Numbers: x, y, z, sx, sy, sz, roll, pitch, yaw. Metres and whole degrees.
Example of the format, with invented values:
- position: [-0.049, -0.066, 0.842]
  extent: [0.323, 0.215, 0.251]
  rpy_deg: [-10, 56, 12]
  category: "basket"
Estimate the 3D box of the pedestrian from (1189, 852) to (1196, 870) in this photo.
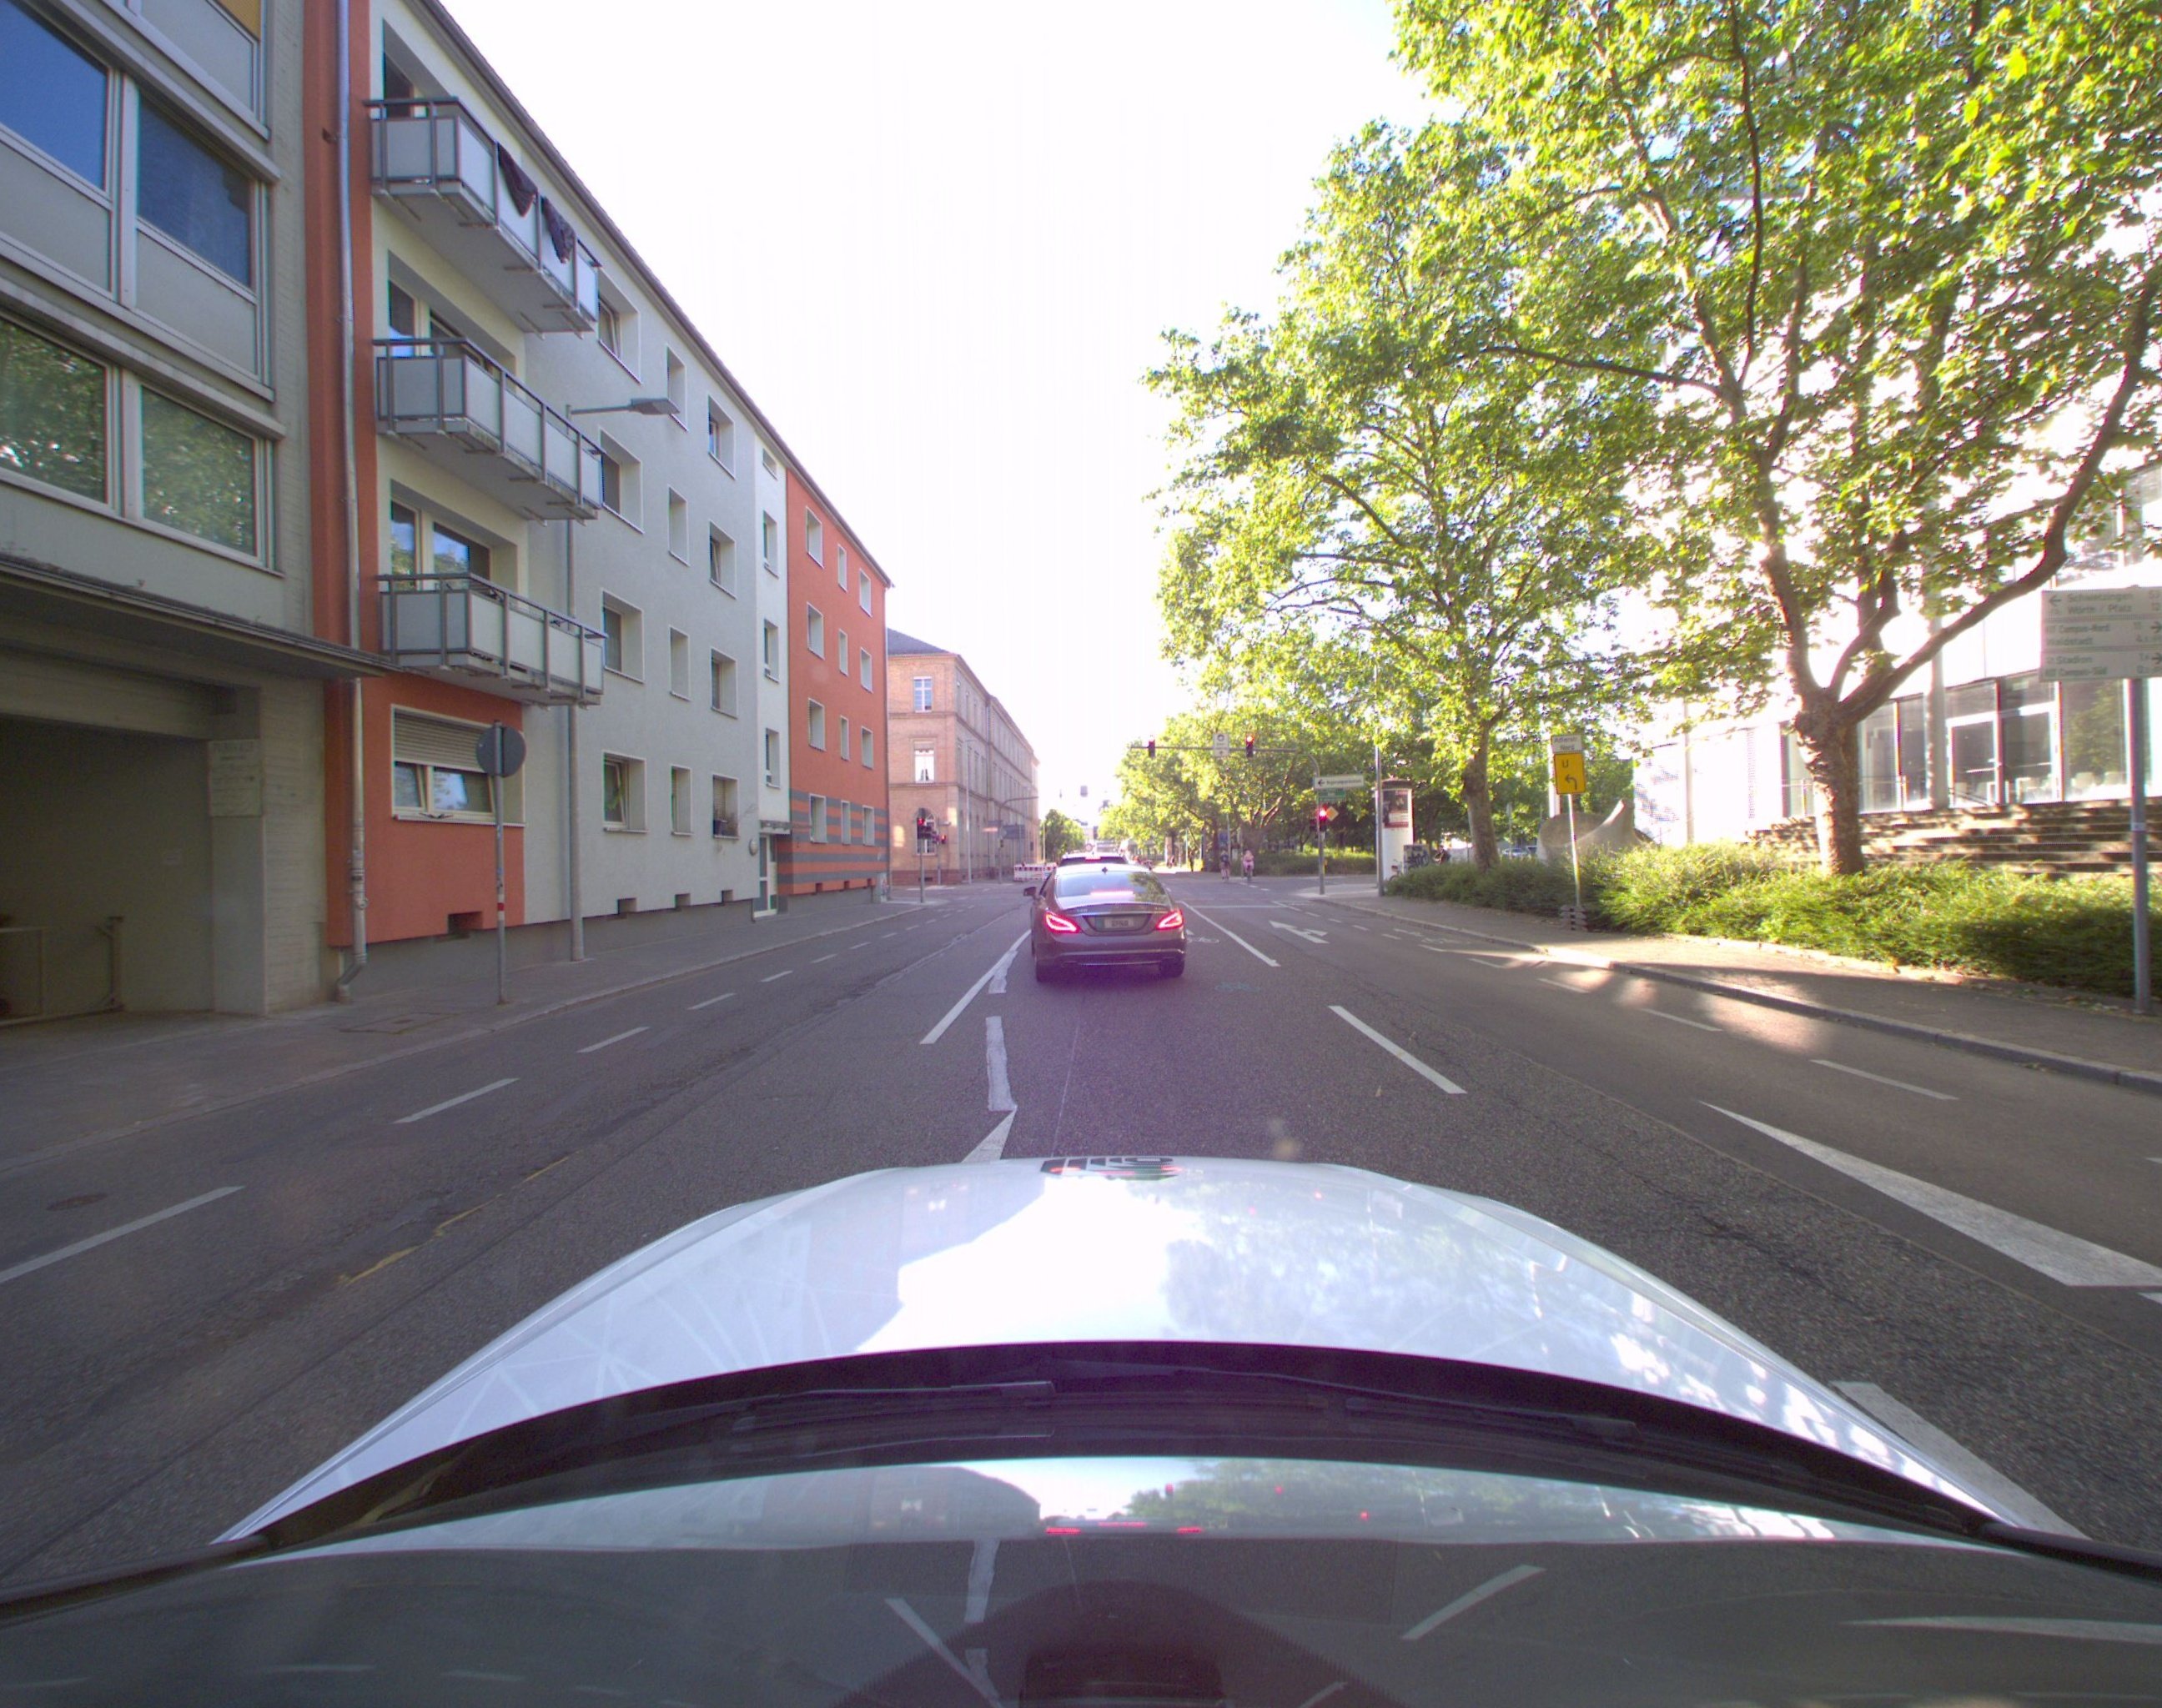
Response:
- position: [10.479, 0.630, 76.496]
  extent: [0.557, 1.678, 0.565]
  rpy_deg: [-1, 0, 1]
  category: "pedestrian"

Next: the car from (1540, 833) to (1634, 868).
- position: [27.928, -0.193, 45.069]
  extent: [3.975, 1.784, 2.004]
  rpy_deg: [-1, 0, 6]
  category: "car"

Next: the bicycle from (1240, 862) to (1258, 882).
- position: [8.531, 0.888, 41.471]
  extent: [0.598, 0.985, 1.882]
  rpy_deg: [0, 0, 2]
  category: "bicycle"

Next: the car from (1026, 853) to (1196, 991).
- position: [0.195, 0.766, 11.234]
  extent: [1.818, 1.476, 4.345]
  rpy_deg: [-1, 0, -5]
  category: "car"

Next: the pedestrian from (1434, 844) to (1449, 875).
- position: [20.974, 0.315, 47.418]
  extent: [0.617, 1.784, 0.631]
  rpy_deg: [-1, 0, 4]
  category: "pedestrian"

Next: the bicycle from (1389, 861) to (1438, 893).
- position: [10.958, 0.751, 26.866]
  extent: [1.411, 1.037, 0.538]
  rpy_deg: [-1, 0, -2]
  category: "bicycle"

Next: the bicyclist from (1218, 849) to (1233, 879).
- position: [7.282, 0.500, 41.150]
  extent: [0.608, 1.516, 0.890]
  rpy_deg: [0, 0, 2]
  category: "bicyclist"

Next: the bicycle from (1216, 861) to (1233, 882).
- position: [7.283, 0.899, 41.285]
  extent: [0.608, 1.026, 1.732]
  rpy_deg: [0, 0, 2]
  category: "bicycle"

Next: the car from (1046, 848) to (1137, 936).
- position: [0.213, 0.729, 17.253]
  extent: [1.676, 1.625, 3.841]
  rpy_deg: [-1, 0, 1]
  category: "car"

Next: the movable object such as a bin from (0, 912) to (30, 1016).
- position: [-11.299, 1.135, 8.169]
  extent: [0.584, 1.040, 0.712]
  rpy_deg: [-1, 0, 2]
  category: "movable object such as a bin"

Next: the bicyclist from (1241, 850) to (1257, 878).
- position: [8.535, 0.512, 41.384]
  extent: [0.598, 1.402, 0.931]
  rpy_deg: [0, 0, 2]
  category: "bicyclist"
